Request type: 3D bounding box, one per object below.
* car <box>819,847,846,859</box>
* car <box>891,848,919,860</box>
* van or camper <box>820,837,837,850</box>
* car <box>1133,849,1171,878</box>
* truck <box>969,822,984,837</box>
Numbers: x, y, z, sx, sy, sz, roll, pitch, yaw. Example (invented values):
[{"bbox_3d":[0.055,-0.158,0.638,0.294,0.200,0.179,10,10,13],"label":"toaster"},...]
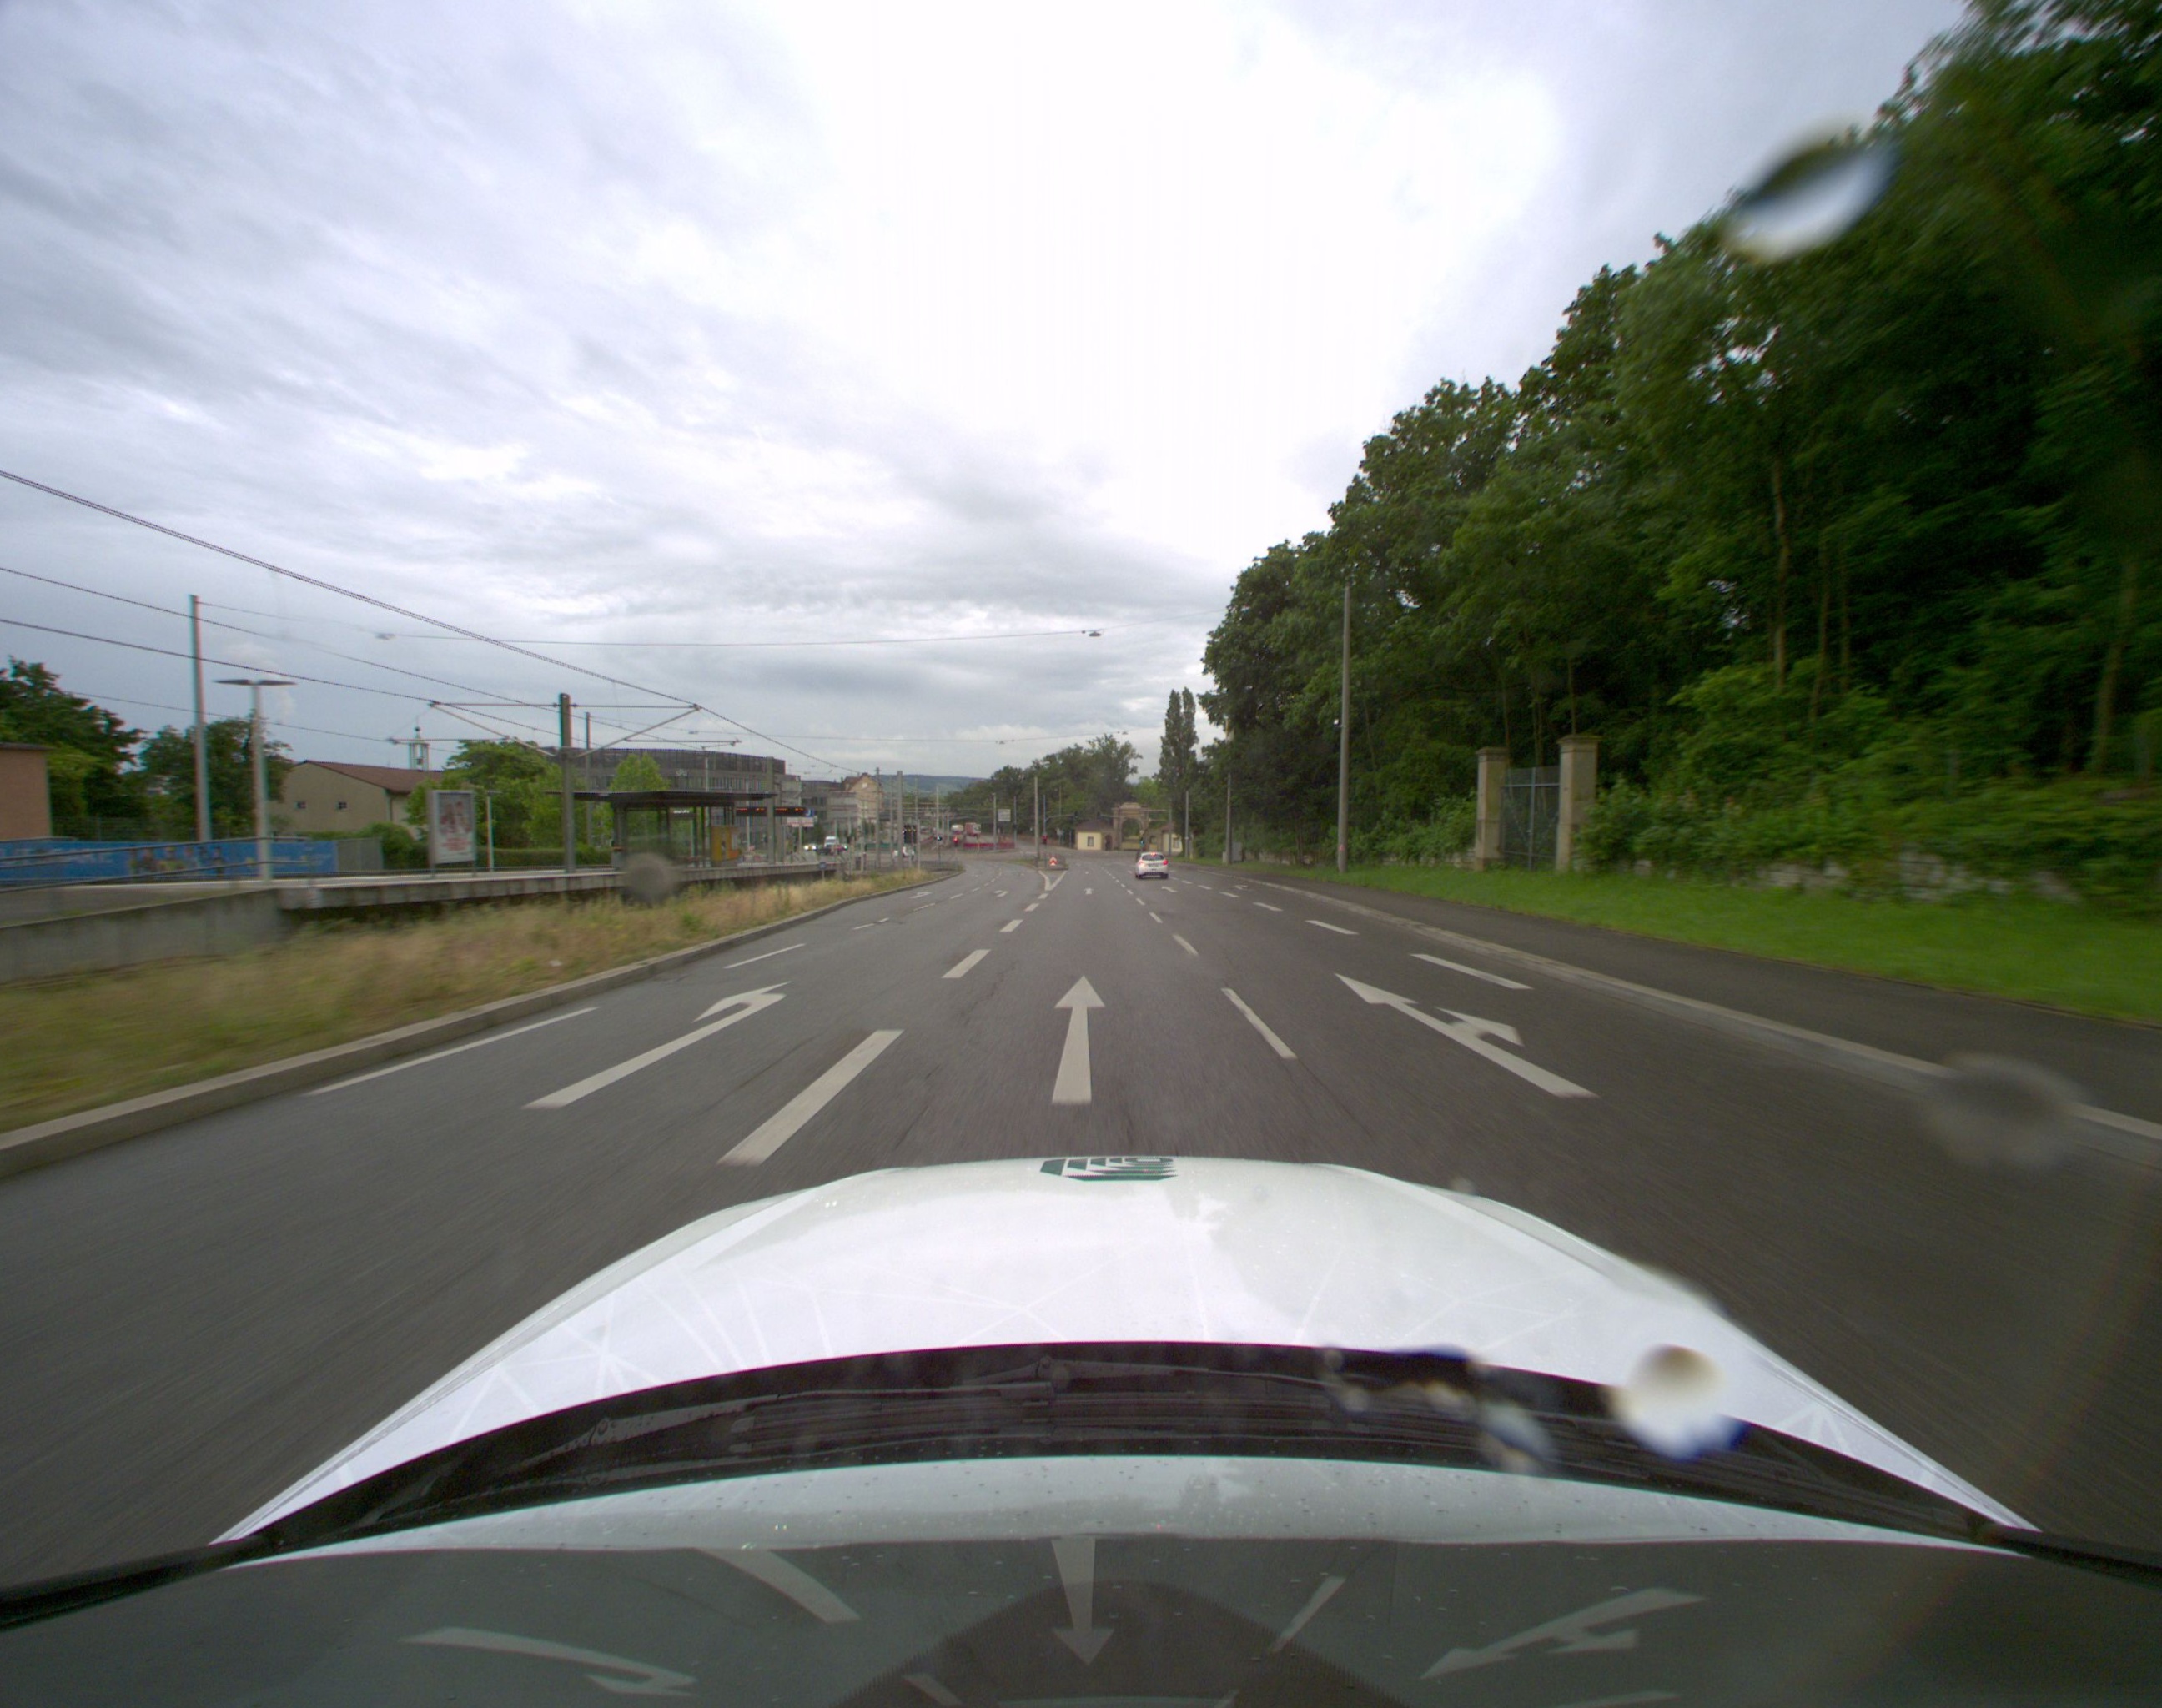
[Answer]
[{"bbox_3d":[-38.598,-0.154,126.625,3.948,1.706,2.013,0,1,35],"label":"car"},{"bbox_3d":[-25.399,0.028,117.382,3.949,1.606,1.840,2,2,37],"label":"car"},{"bbox_3d":[-45.659,-1.885,147.352,1.992,2.344,3.991,-3,0,-7],"label":"van or camper"},{"bbox_3d":[4.032,0.516,46.543,1.862,1.511,3.900,-2,0,1],"label":"car"},{"bbox_3d":[-32.425,-7.546,252.891,3.416,4.570,11.241,2,0,-12],"label":"truck"}]
